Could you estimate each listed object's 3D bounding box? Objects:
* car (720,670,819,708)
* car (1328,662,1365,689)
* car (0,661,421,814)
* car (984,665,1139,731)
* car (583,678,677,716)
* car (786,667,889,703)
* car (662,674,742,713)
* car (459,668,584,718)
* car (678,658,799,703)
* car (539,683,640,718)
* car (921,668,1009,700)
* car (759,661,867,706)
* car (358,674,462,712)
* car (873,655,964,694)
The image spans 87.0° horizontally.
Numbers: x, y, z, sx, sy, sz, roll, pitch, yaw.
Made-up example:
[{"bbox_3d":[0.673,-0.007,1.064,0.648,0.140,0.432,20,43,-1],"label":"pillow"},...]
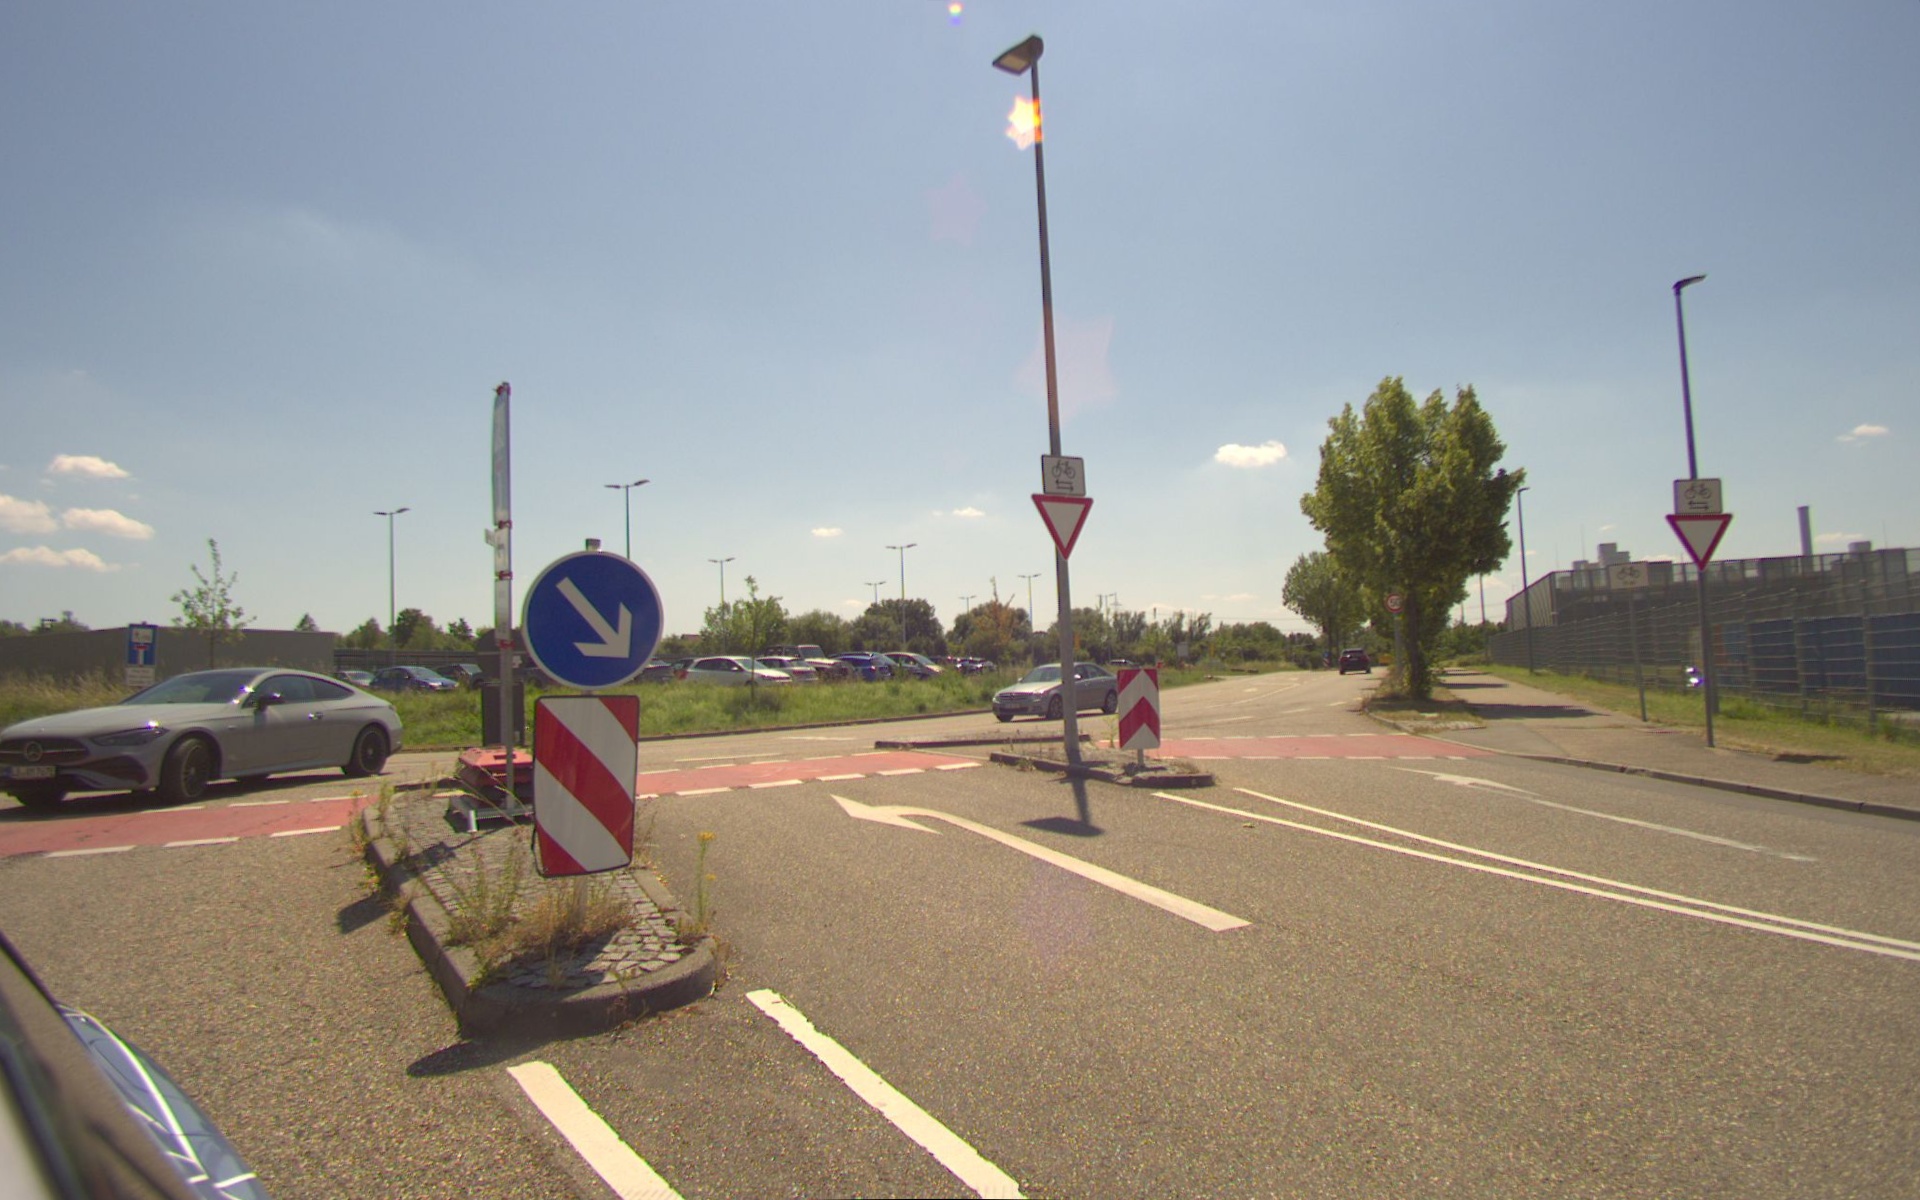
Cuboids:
[{"bbox_3d":[-6.872,3.210,36.530,3.250,1.191,1.489,-4,-4,24],"label":"car"},{"bbox_3d":[25.364,4.953,66.281,1.859,1.647,4.560,-6,-6,24],"label":"car"},{"bbox_3d":[-8.702,1.564,11.942,1.875,1.394,4.623,-3,-6,6],"label":"car"},{"bbox_3d":[2.743,2.538,26.591,1.673,1.385,4.435,-10,-8,41],"label":"car"},{"bbox_3d":[-14.377,4.233,44.132,3.615,1.610,1.756,-3,-5,22],"label":"car"},{"bbox_3d":[-5.030,3.471,41.521,3.918,1.267,1.574,-4,-4,21],"label":"car"},{"bbox_3d":[-12.219,4.412,47.960,3.395,1.586,1.512,-6,-6,20],"label":"car"},{"bbox_3d":[-17.003,3.618,39.250,4.573,1.703,1.764,-5,-7,22],"label":"car"},{"bbox_3d":[-7.490,2.712,34.173,3.855,1.307,1.561,-5,-4,25],"label":"car"},{"bbox_3d":[-15.304,4.129,41.761,3.823,1.373,1.640,-3,-5,22],"label":"car"},{"bbox_3d":[0.236,4.262,51.147,3.977,1.301,1.892,-7,-6,25],"label":"car"},{"bbox_3d":[-5.663,3.215,38.947,3.732,1.539,1.858,-5,-4,29],"label":"car"},{"bbox_3d":[-22.312,3.788,41.070,3.607,1.457,1.644,-3,-5,16],"label":"car"},{"bbox_3d":[-1.895,3.400,45.927,3.822,1.637,1.605,-3,-5,21],"label":"car"}]
